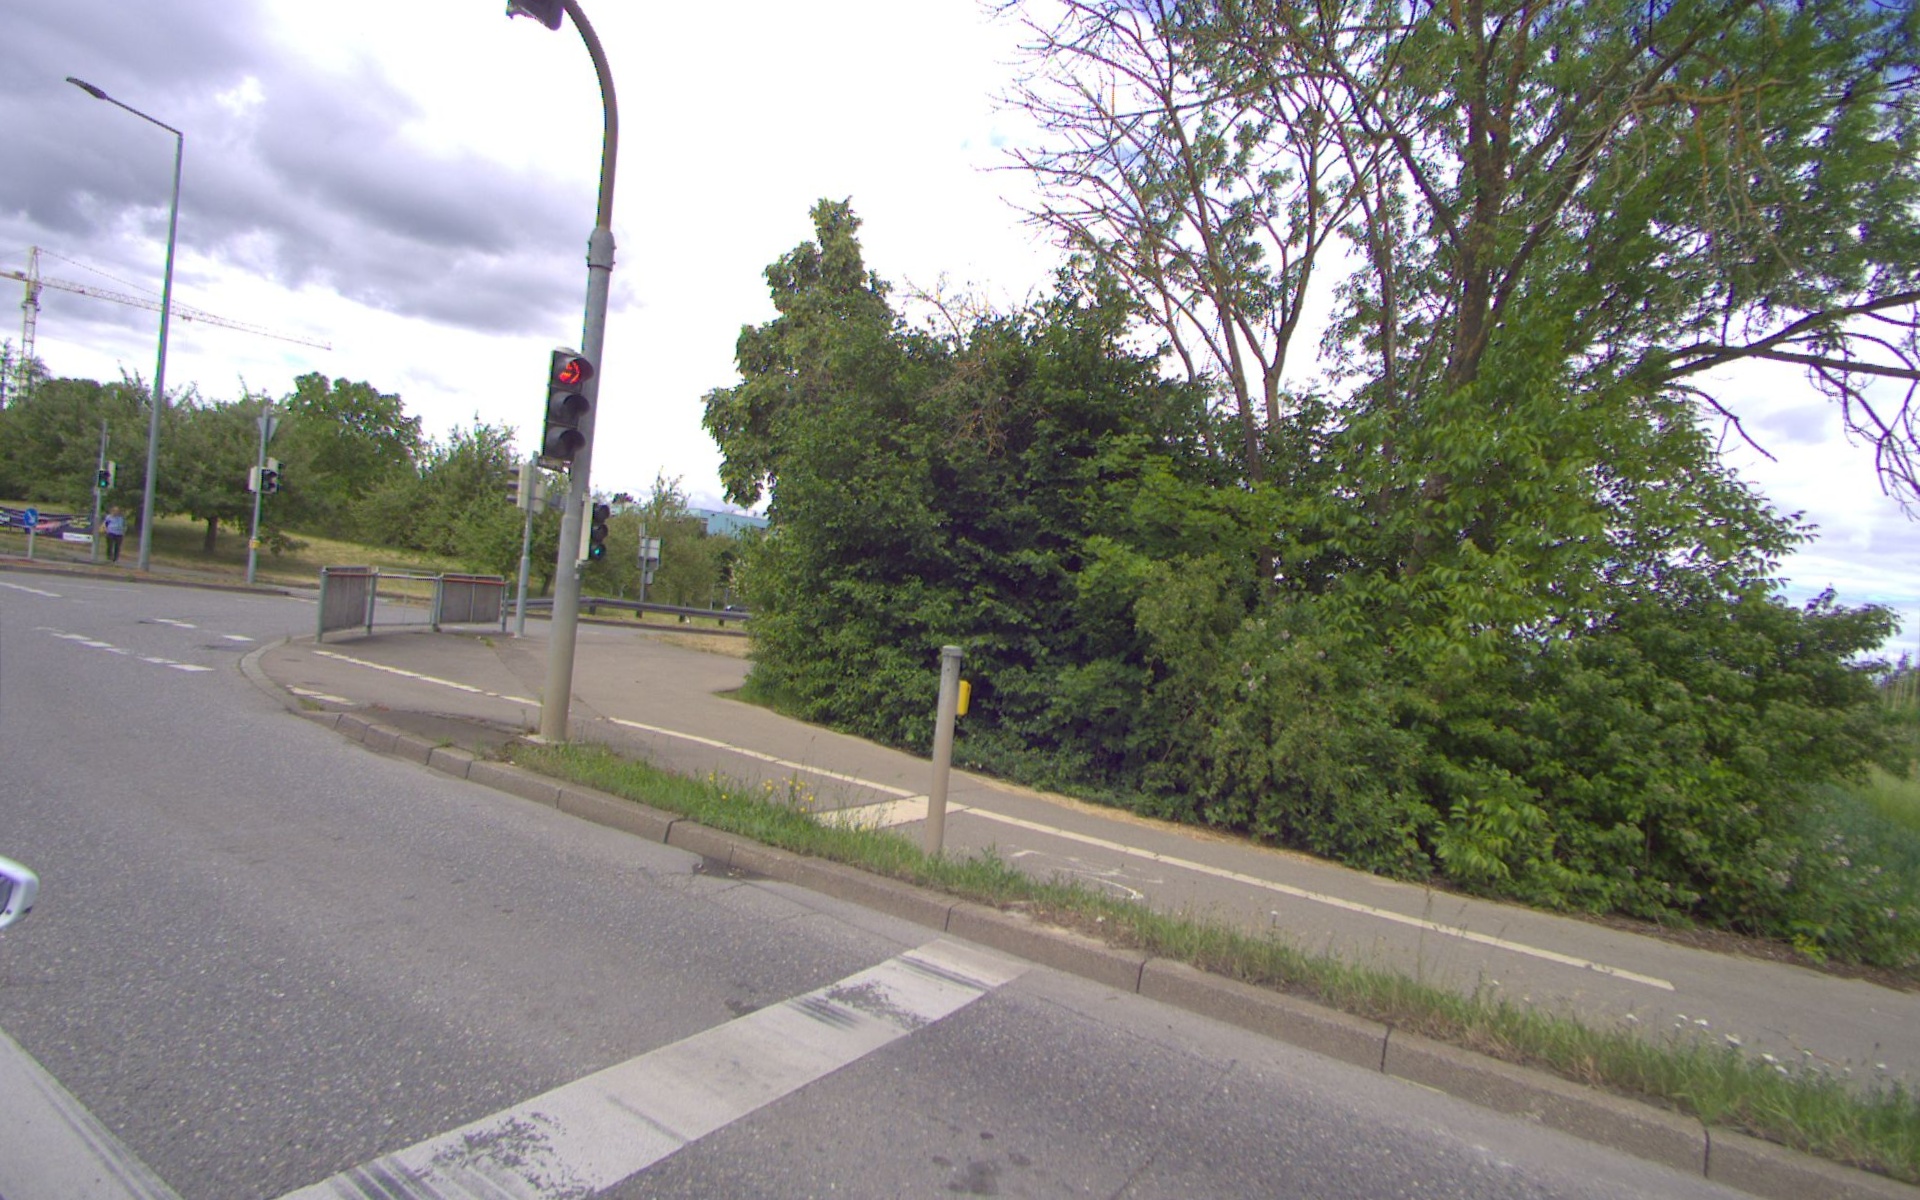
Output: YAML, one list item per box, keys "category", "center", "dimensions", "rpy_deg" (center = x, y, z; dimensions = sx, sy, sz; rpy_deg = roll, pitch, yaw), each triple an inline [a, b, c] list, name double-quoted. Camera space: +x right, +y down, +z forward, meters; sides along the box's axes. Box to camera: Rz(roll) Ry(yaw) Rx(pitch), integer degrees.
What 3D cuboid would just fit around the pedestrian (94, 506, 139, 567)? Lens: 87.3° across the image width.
- category: "pedestrian"
  center: [-27.181, -2.050, 32.418]
  dimensions: [1.027, 1.813, 0.719]
  rpy_deg: [6, -1, 35]
